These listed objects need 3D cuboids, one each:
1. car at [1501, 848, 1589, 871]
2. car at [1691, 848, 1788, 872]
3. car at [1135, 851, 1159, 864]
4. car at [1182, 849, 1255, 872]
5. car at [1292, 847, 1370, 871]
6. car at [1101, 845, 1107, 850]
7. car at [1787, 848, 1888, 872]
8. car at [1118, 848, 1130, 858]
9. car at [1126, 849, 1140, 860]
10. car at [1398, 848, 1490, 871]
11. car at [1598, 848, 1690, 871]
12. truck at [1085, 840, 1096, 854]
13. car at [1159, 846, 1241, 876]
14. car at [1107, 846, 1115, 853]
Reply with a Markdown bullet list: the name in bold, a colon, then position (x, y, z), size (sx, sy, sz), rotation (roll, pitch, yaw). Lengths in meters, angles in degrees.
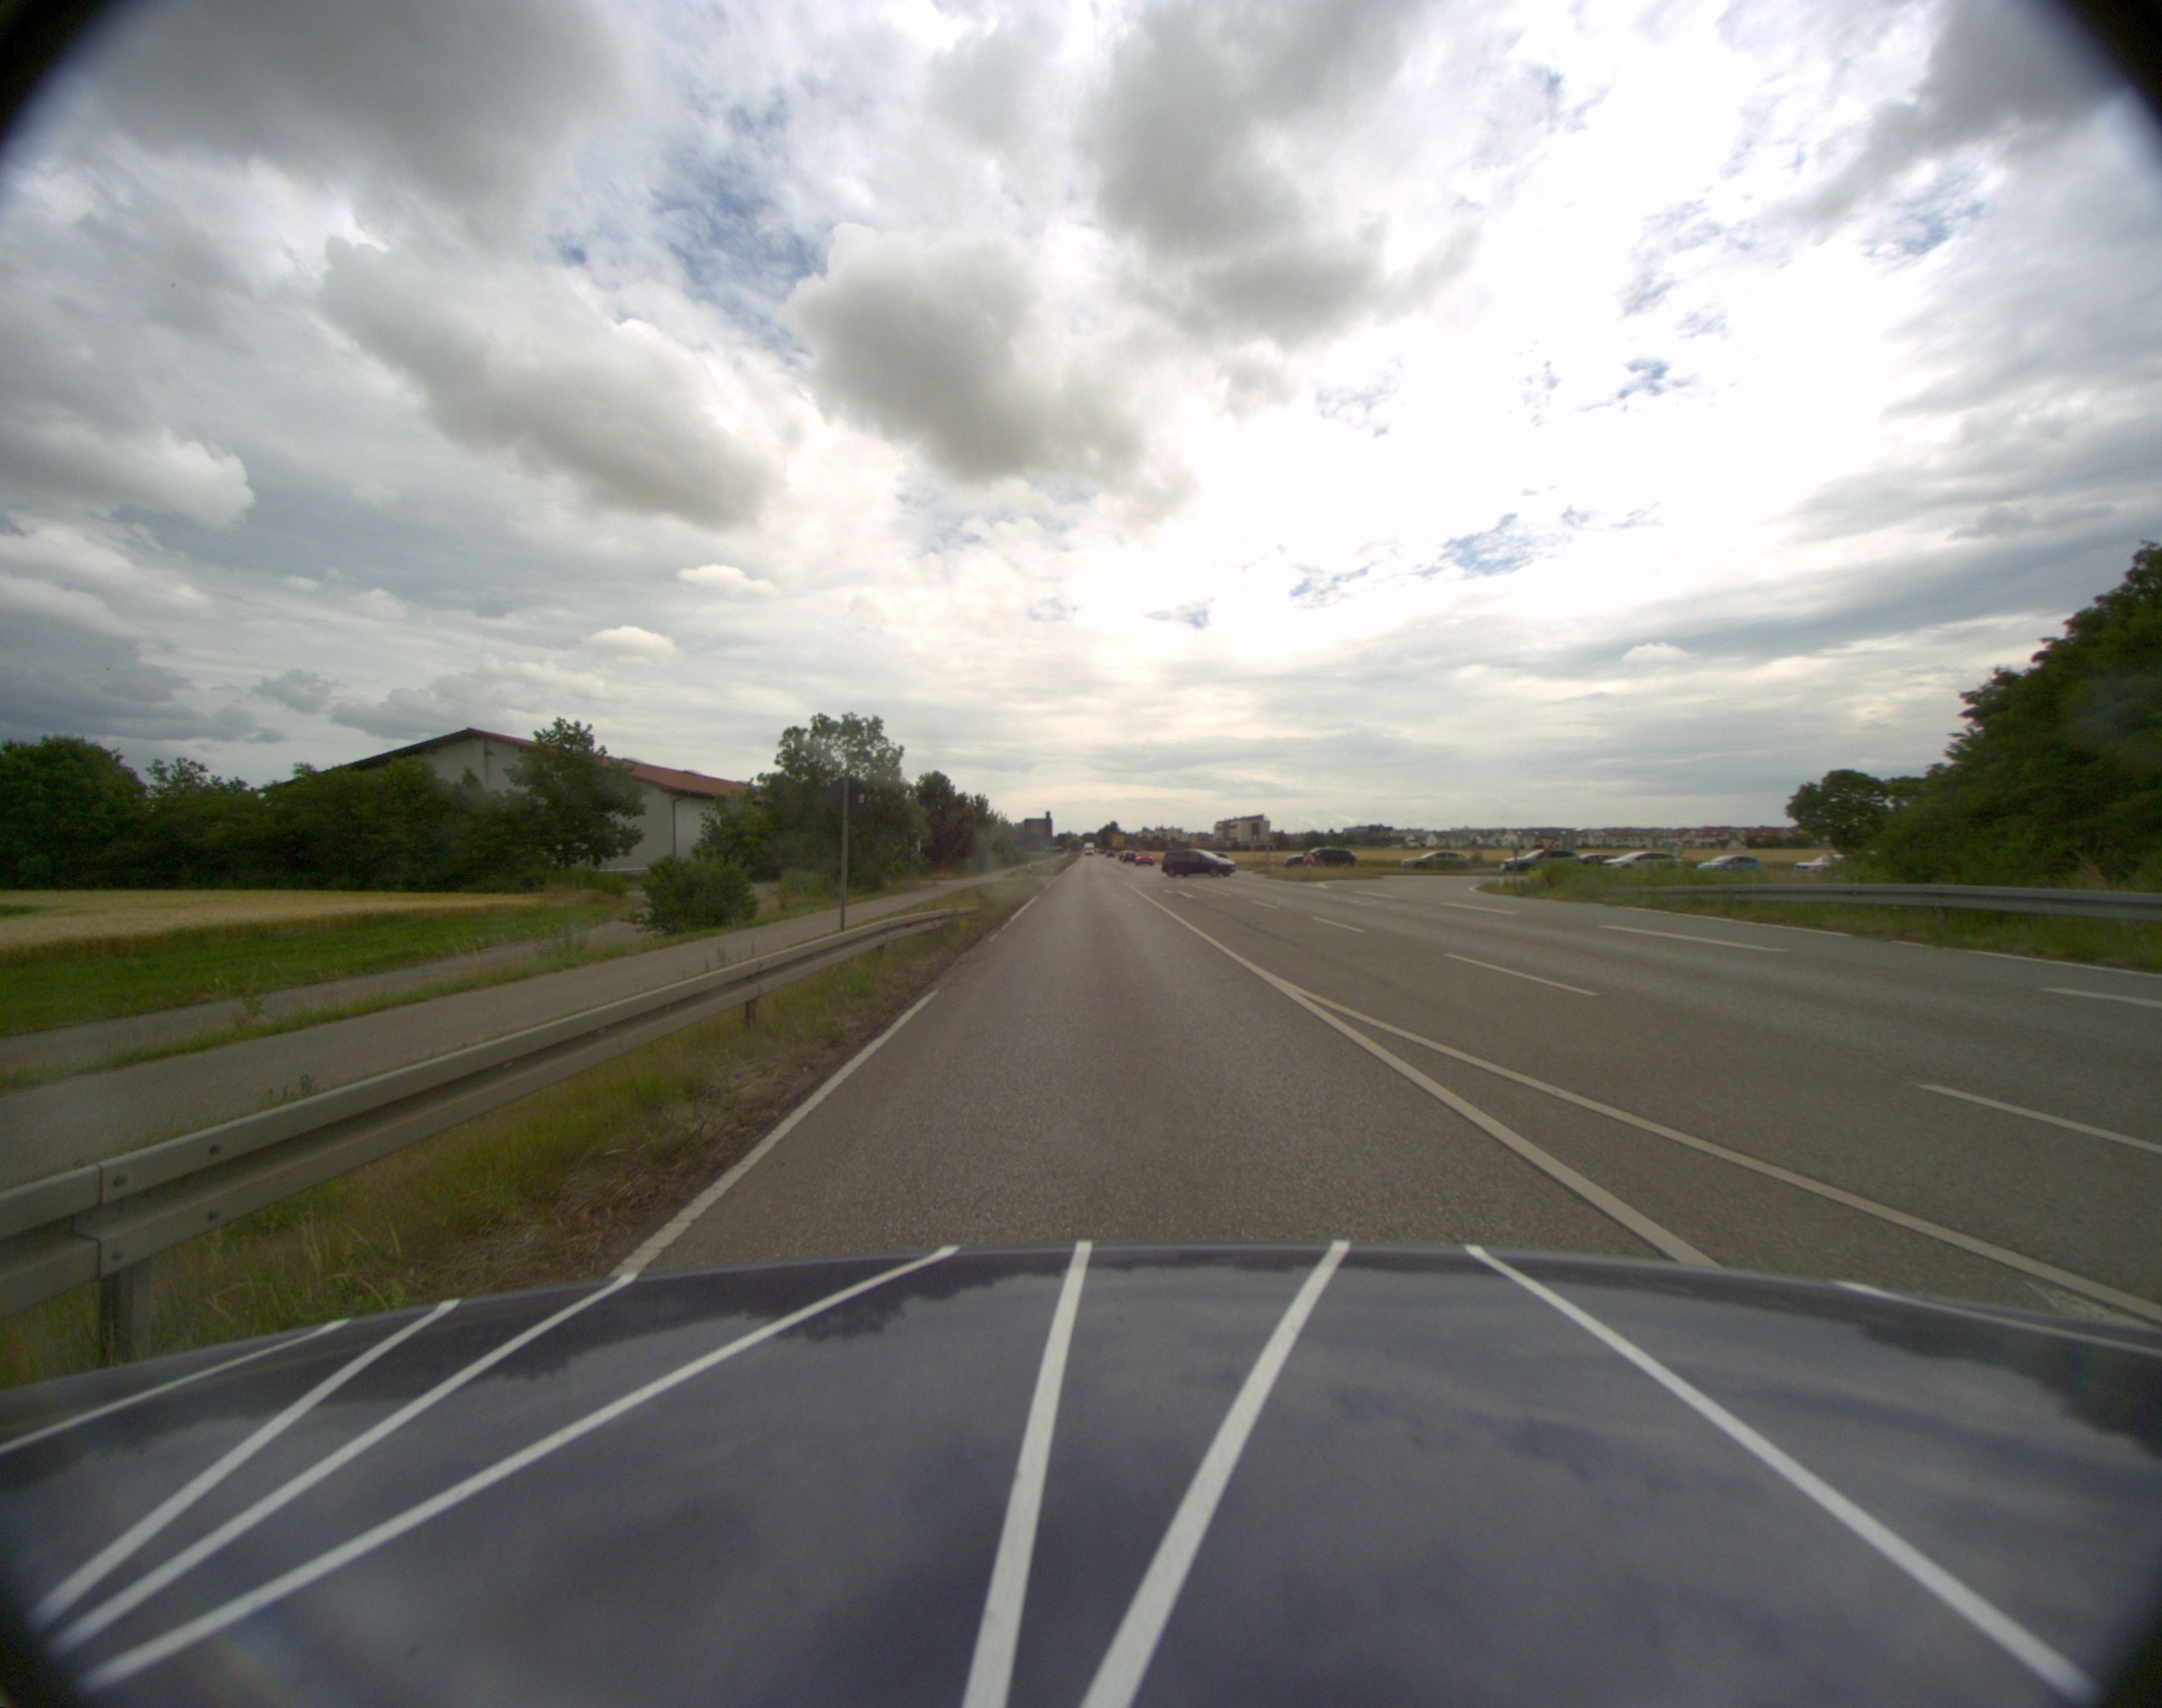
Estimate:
- **car**: position (30.936, 0.356, 50.806), size (4.633, 1.508, 1.912), rotation (0, 1, 7)
- **car**: position (42.953, 0.377, 49.635), size (4.500, 1.474, 1.912), rotation (0, 1, 7)
- **car**: position (7.113, 0.355, 82.669), size (2.170, 1.277, 4.236), rotation (-2, 1, 0)
- **car**: position (9.195, 0.428, 51.090), size (4.464, 1.416, 1.909), rotation (-1, 1, -7)
- **car**: position (17.038, 0.326, 51.962), size (4.749, 1.523, 1.912), rotation (0, 1, 7)
- **car**: position (6.905, -2.064, 228.598), size (1.740, 1.450, 4.130), rotation (-1, 1, -1)
- **car**: position (48.898, 0.396, 49.189), size (4.501, 1.474, 1.911), rotation (0, 1, 4)
- **car**: position (6.684, -0.220, 119.348), size (1.665, 1.475, 3.168), rotation (-2, 1, 0)
- **car**: position (6.906, 0.050, 101.940), size (1.746, 1.521, 4.199), rotation (-1, 1, 3)
- **car**: position (24.484, 0.359, 51.397), size (5.295, 1.512, 1.912), rotation (0, 1, 7)
- **car**: position (36.911, 0.361, 49.907), size (4.500, 1.474, 1.912), rotation (0, 1, 7)
- **truck**: position (2.586, -1.914, 200.661), size (2.813, 3.588, 11.218), rotation (-1, 1, 1)
- **car**: position (7.045, 0.417, 45.187), size (4.470, 1.602, 1.711), rotation (-2, 1, 37)
- **car**: position (6.297, -0.920, 159.725), size (1.683, 1.512, 4.395), rotation (-2, 1, 1)
